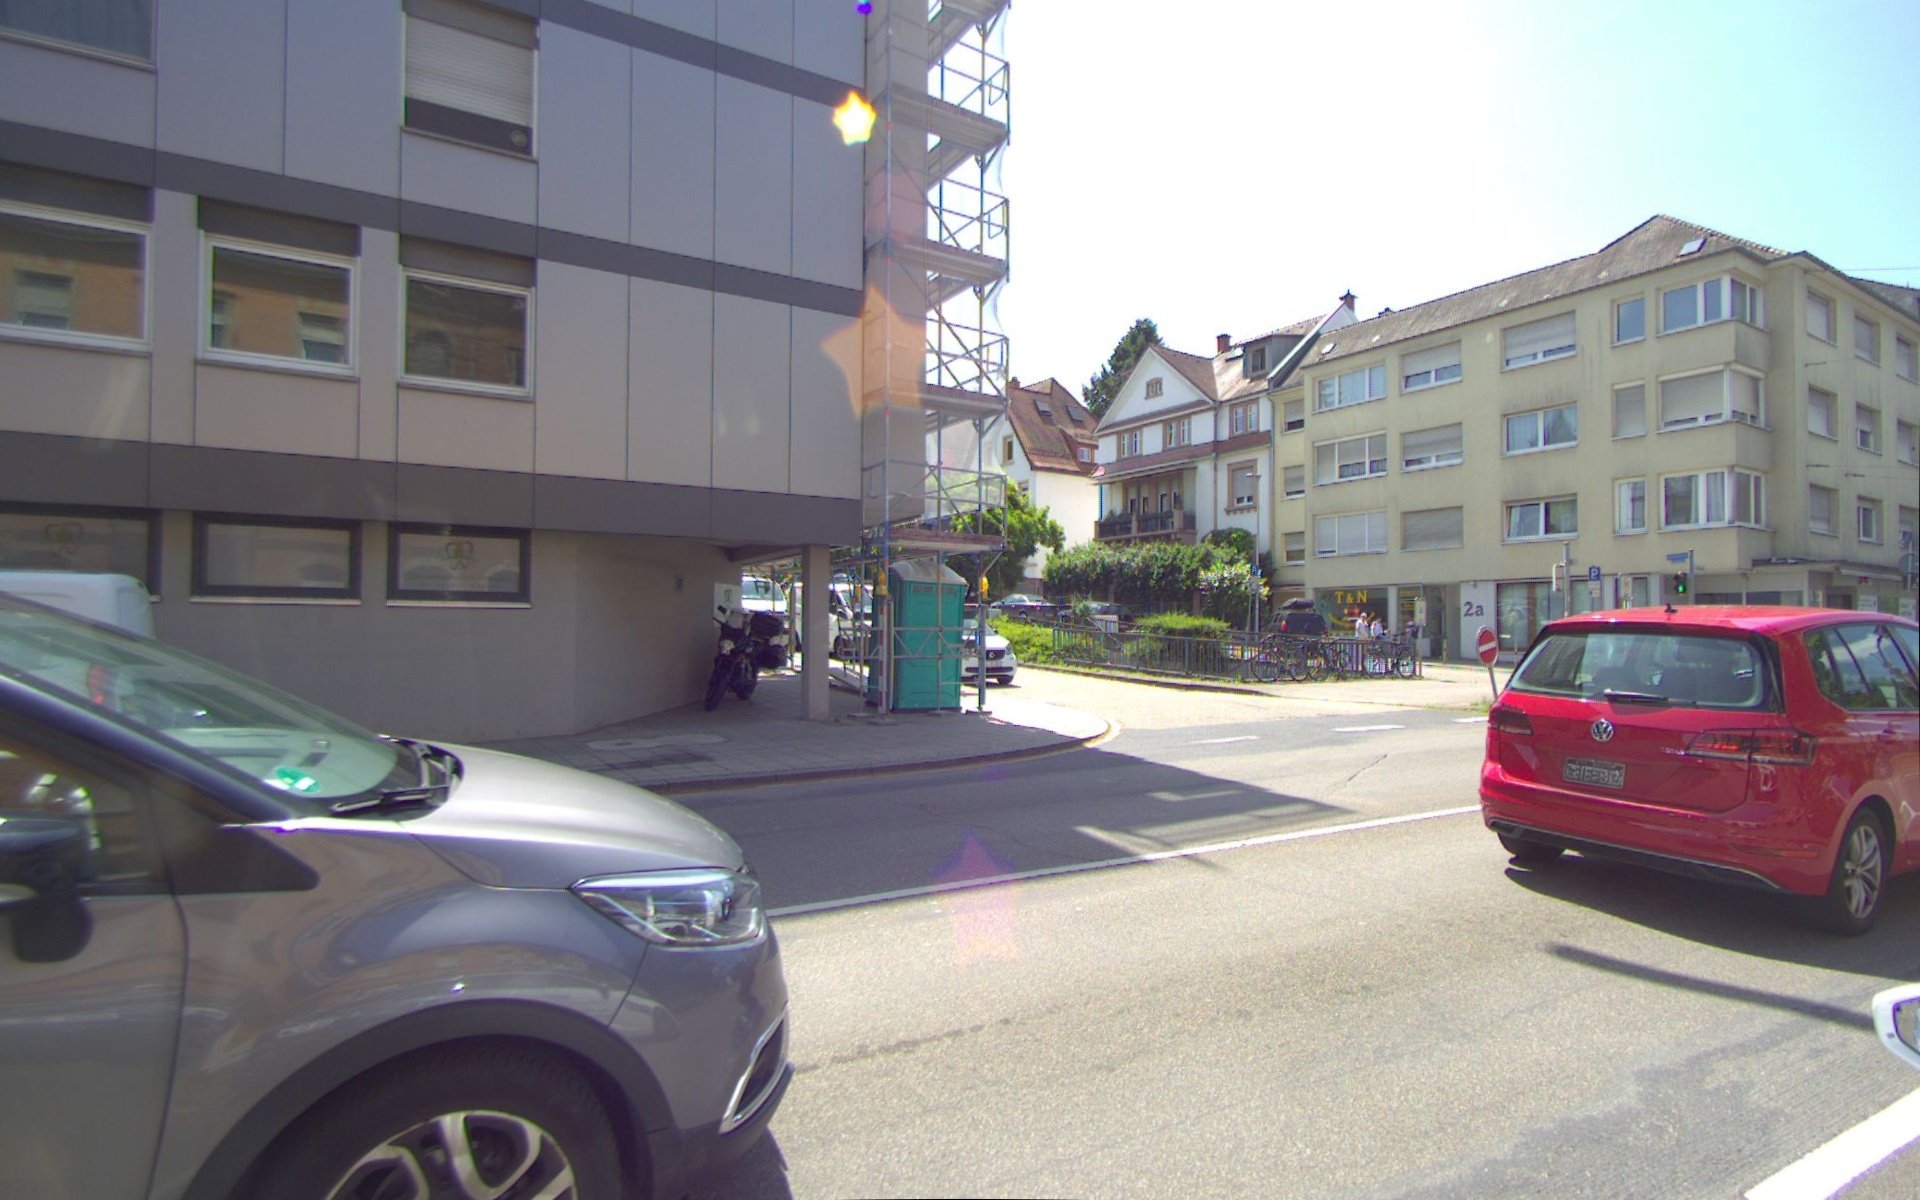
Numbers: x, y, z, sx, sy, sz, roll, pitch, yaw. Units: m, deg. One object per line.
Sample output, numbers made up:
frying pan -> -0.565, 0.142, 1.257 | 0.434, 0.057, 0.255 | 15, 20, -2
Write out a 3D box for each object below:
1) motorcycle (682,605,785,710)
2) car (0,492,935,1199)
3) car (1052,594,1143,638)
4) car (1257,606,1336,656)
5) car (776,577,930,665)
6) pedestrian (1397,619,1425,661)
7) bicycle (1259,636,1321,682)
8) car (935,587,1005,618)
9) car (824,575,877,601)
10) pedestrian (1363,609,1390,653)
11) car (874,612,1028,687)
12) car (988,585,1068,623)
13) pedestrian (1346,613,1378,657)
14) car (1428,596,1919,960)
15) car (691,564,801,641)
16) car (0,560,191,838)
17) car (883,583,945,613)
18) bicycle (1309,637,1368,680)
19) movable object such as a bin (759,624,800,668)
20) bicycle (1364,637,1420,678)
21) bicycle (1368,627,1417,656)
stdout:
motorcycle -> -3.434, 0.834, 15.448 | 0.864, 1.491, 2.044 | 1, -1, 8
car -> -2.197, 0.666, 2.030 | 3.952, 1.653, 1.746 | 1, -1, -30
car -> 6.004, 0.682, 44.295 | 1.790, 1.638, 3.963 | 1, 2, -33
car -> 12.164, 1.101, 36.554 | 1.959, 1.686, 4.332 | 0, -1, 8
car -> -3.012, 0.488, 27.225 | 1.980, 2.041, 4.962 | 1, 2, -35
pedestrian -> 16.267, 1.427, 36.229 | 0.641, 1.495, 0.683 | 1, -1, -29
bicycle -> 7.402, 1.307, 22.500 | 1.701, 0.980, 0.394 | 1, -1, -35
car -> 0.473, 0.122, 52.751 | 1.790, 1.406, 3.963 | 1, 2, -33
car -> -7.173, -0.805, 65.652 | 1.839, 1.440, 3.963 | 1, 2, -33
pedestrian -> 15.765, 1.159, 38.013 | 0.641, 1.654, 0.683 | 1, -1, -29
car -> -0.279, 1.044, 22.596 | 1.739, 1.466, 3.705 | 1, 0, -33
car -> 3.225, 0.171, 48.544 | 1.790, 1.571, 3.963 | 1, 2, -33
pedestrian -> 15.060, 1.310, 37.654 | 0.813, 1.654, 0.798 | 1, -1, -30
car -> 4.930, 0.819, 6.157 | 3.990, 1.578, 1.790 | 1, -1, -30
car -> -6.981, 0.014, 32.352 | 2.050, 2.206, 4.972 | 1, 2, -29
car -> -8.230, 0.662, 6.663 | 4.735, 1.849, 1.904 | 2, -3, -32
car -> -2.660, -0.135, 57.759 | 1.790, 1.440, 3.963 | 1, 2, -33
bicycle -> 8.908, 1.359, 23.590 | 1.729, 0.980, 0.394 | 1, -1, -35
movable object such as a bin -> -4.048, 1.022, 22.541 | 0.695, 0.939, 0.735 | 1, 0, -29
bicycle -> 10.656, 1.402, 24.745 | 1.765, 0.980, 0.394 | 1, -1, -35
bicycle -> 16.506, 1.567, 38.367 | 0.493, 1.040, 1.728 | 1, -1, -31
